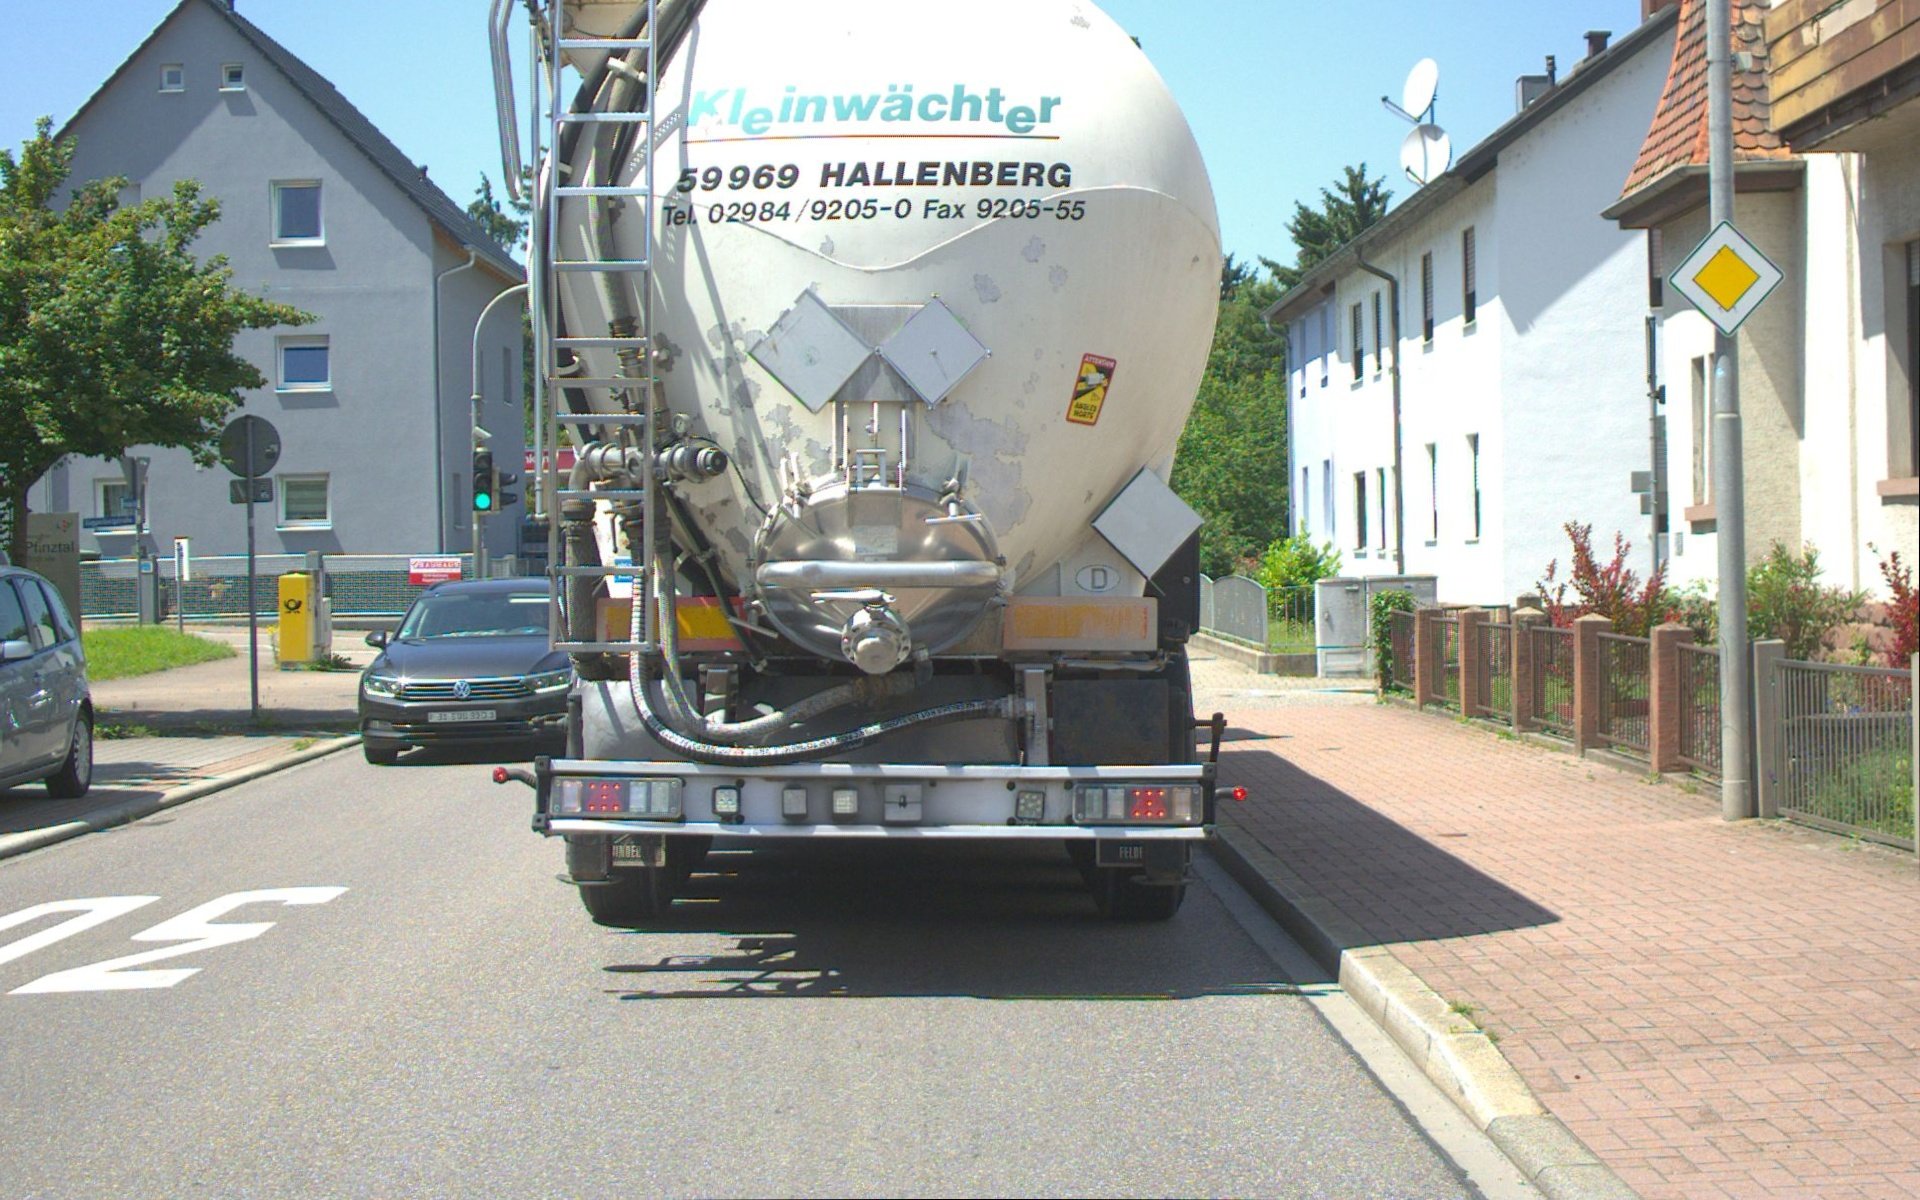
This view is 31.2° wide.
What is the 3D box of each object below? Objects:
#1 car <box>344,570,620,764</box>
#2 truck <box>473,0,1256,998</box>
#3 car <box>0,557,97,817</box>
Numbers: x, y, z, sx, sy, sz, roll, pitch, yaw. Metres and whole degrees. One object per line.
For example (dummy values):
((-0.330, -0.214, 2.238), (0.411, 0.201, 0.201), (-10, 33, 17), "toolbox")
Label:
((-3.967, 0.507, 29.151), (1.784, 1.451, 4.258), (-2, 1, -1), "car")
((-0.350, -0.716, 16.390), (2.641, 4.002, 9.562), (0, 1, 0), "truck")
((-6.696, 0.521, 21.516), (1.697, 1.575, 3.838), (0, 1, -1), "car")
